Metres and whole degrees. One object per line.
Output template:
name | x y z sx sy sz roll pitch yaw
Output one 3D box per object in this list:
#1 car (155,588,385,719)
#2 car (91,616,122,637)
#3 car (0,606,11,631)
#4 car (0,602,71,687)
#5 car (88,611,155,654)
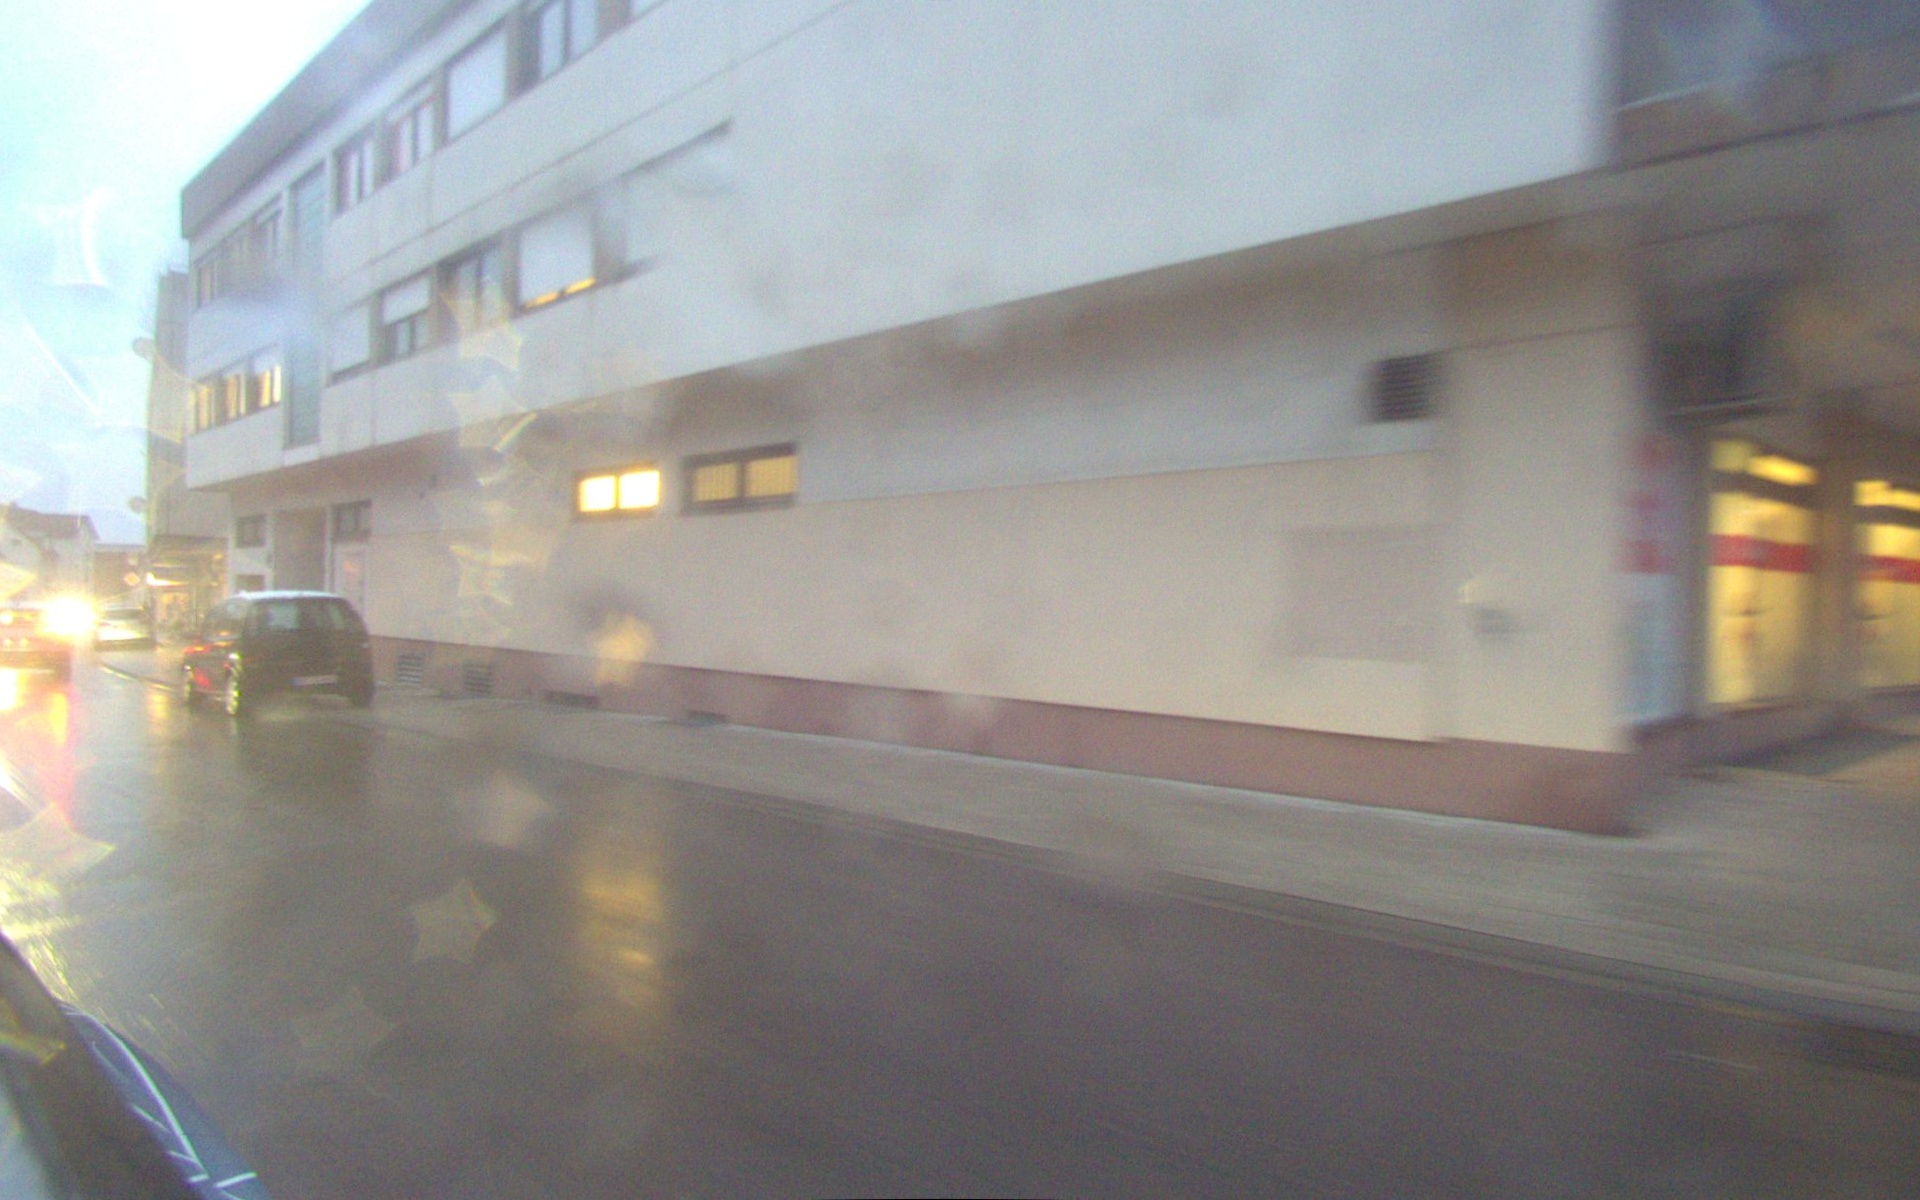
car | -9.990 0.676 14.556 3.826 1.629 1.875 -1 0 42
car | -63.479 1.979 75.328 1.473 1.474 3.133 2 -1 -35
car | -65.147 1.242 67.983 1.895 1.630 3.874 -1 0 -41
car | -20.641 0.920 21.852 4.001 1.692 1.867 -1 0 44
car | -30.440 1.130 36.709 1.752 1.460 3.832 -1 0 -42
